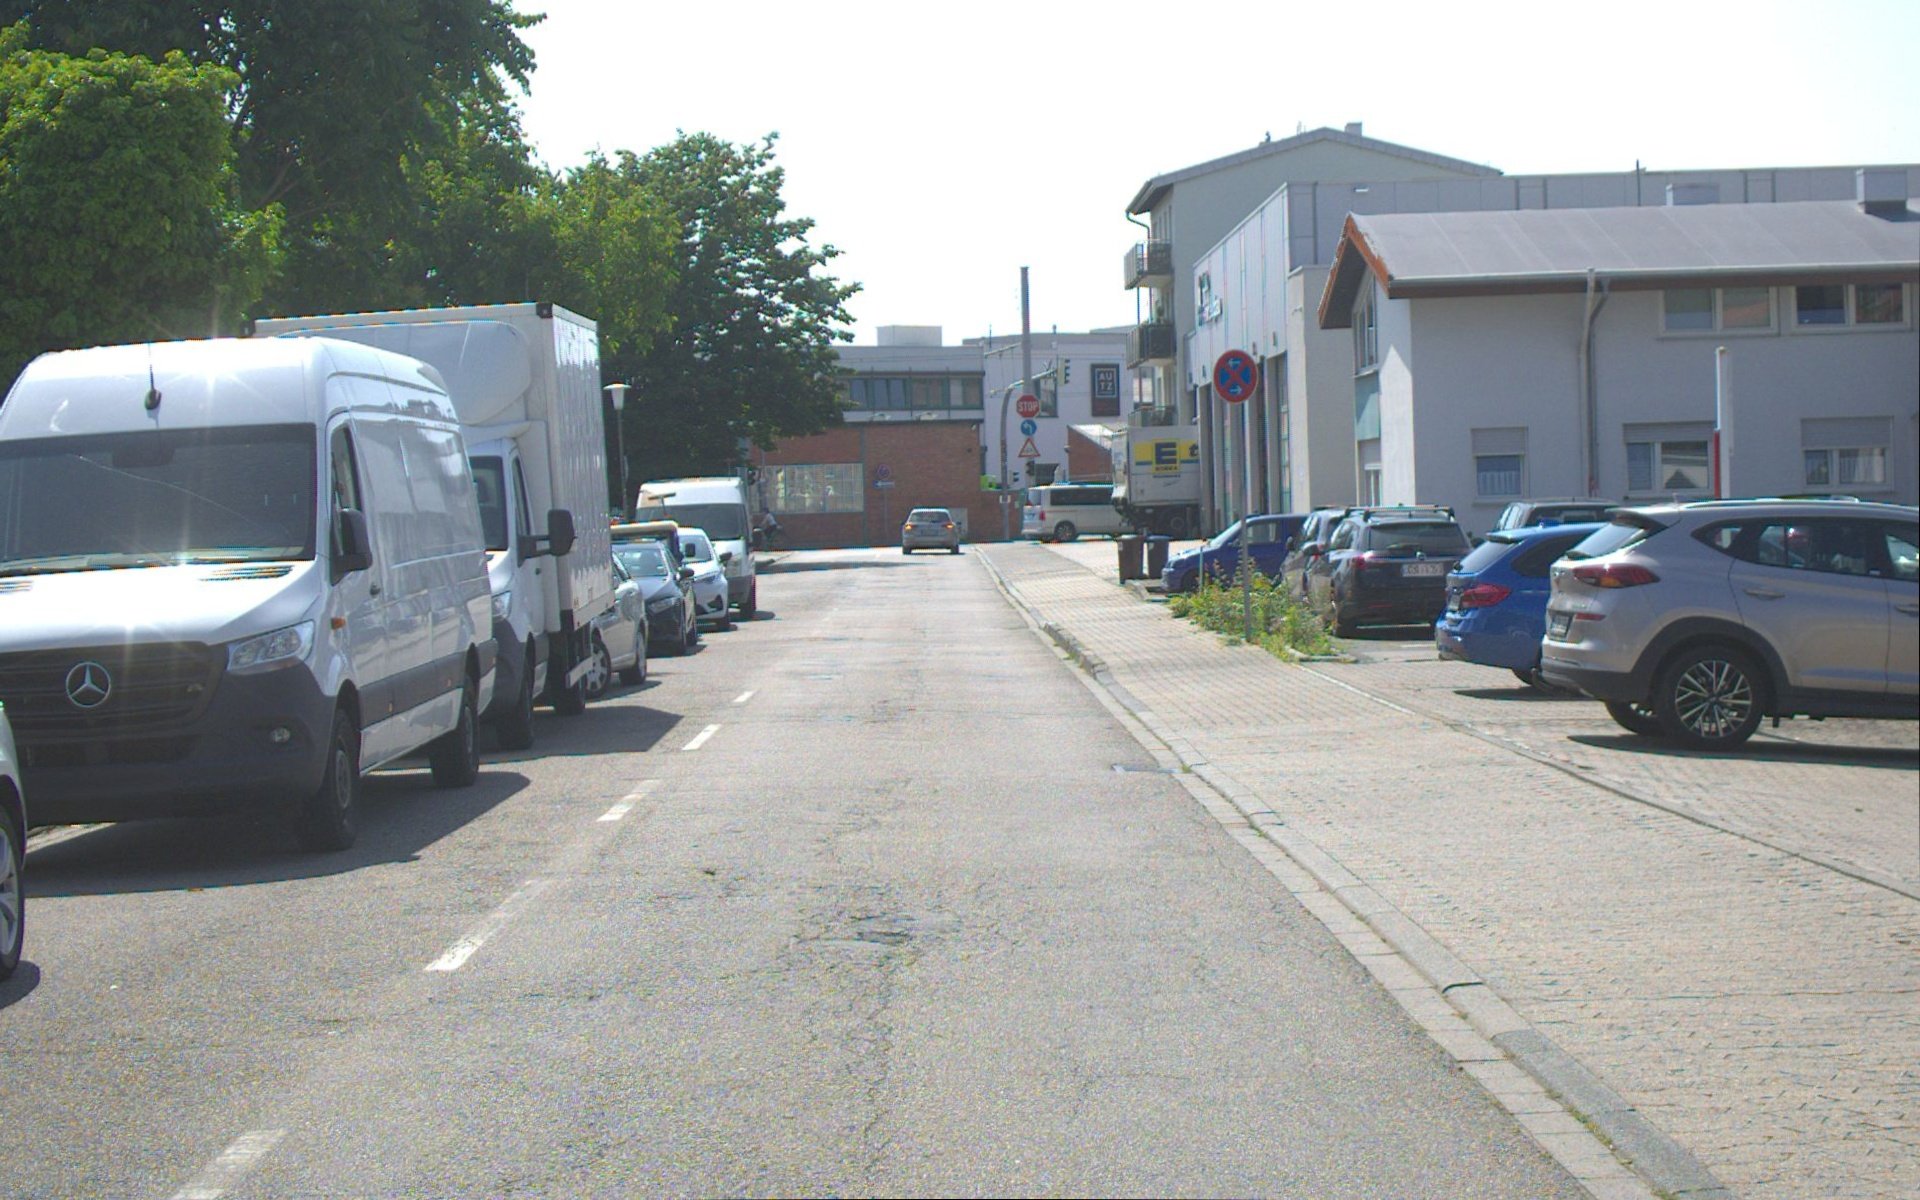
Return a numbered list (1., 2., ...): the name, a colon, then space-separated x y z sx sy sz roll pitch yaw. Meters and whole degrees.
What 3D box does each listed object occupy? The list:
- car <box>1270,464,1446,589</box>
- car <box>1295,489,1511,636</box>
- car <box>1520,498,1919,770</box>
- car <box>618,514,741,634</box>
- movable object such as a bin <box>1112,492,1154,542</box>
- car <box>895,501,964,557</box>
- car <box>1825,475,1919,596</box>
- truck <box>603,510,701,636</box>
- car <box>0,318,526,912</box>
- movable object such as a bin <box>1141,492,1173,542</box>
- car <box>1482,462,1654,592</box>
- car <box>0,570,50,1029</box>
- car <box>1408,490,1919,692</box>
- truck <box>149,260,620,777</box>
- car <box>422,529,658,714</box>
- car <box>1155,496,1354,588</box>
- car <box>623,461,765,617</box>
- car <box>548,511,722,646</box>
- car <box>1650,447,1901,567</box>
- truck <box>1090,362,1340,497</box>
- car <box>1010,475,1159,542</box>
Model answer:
1. car: 5.469 -1.060 47.699 1.811 1.552 4.293 -3 2 -1
2. car: 5.360 -0.518 42.159 1.858 1.562 4.952 -3 2 -1
3. car: 6.011 0.225 22.919 4.200 1.676 1.767 2 1 -1
4. car: -4.314 -0.432 52.691 1.704 1.618 3.974 -4 2 -5
5. movable object such as a bin: 3.387 -1.622 67.176 0.568 0.943 0.556 -2 3 33
6. car: -1.008 -2.295 112.163 1.890 1.679 3.958 -4 1 -4
7. car: 11.789 -0.827 41.712 1.642 1.320 4.101 -2 2 2
8. truck: -4.369 -0.409 49.080 1.138 1.616 3.142 -5 2 -2
9. car: -4.041 -0.001 18.957 2.168 2.587 6.920 -4 2 1
10. movable object such as a bin: 3.878 -1.634 67.587 0.514 0.943 0.487 -3 3 11
11. car: 7.927 -0.996 45.096 1.760 1.589 3.619 1 3 3
12. car: -4.077 0.781 10.125 1.714 1.538 4.402 -4 2 -3
13. car: 6.117 -0.105 28.973 4.352 1.436 1.892 -3 2 -1
14. truck: -4.243 -0.642 26.840 2.685 3.354 7.131 -3 2 -3
15. car: -4.006 0.151 33.372 1.741 1.516 4.311 -3 2 -1
16. car: 5.089 -1.012 59.594 3.253 1.394 1.673 -3 2 0
17. car: -4.424 -1.018 57.842 2.005 2.358 5.230 -4 1 -2
18. car: -4.042 -0.311 43.297 1.704 1.458 4.114 -4 2 0
19. car: 11.320 -1.301 47.987 1.759 1.490 4.151 -4 2 -11
20. truck: 8.190 -5.493 110.669 7.358 3.632 2.768 -6 3 -6
21. car: 4.302 -3.164 118.972 4.653 1.951 1.917 -5 1 -19
